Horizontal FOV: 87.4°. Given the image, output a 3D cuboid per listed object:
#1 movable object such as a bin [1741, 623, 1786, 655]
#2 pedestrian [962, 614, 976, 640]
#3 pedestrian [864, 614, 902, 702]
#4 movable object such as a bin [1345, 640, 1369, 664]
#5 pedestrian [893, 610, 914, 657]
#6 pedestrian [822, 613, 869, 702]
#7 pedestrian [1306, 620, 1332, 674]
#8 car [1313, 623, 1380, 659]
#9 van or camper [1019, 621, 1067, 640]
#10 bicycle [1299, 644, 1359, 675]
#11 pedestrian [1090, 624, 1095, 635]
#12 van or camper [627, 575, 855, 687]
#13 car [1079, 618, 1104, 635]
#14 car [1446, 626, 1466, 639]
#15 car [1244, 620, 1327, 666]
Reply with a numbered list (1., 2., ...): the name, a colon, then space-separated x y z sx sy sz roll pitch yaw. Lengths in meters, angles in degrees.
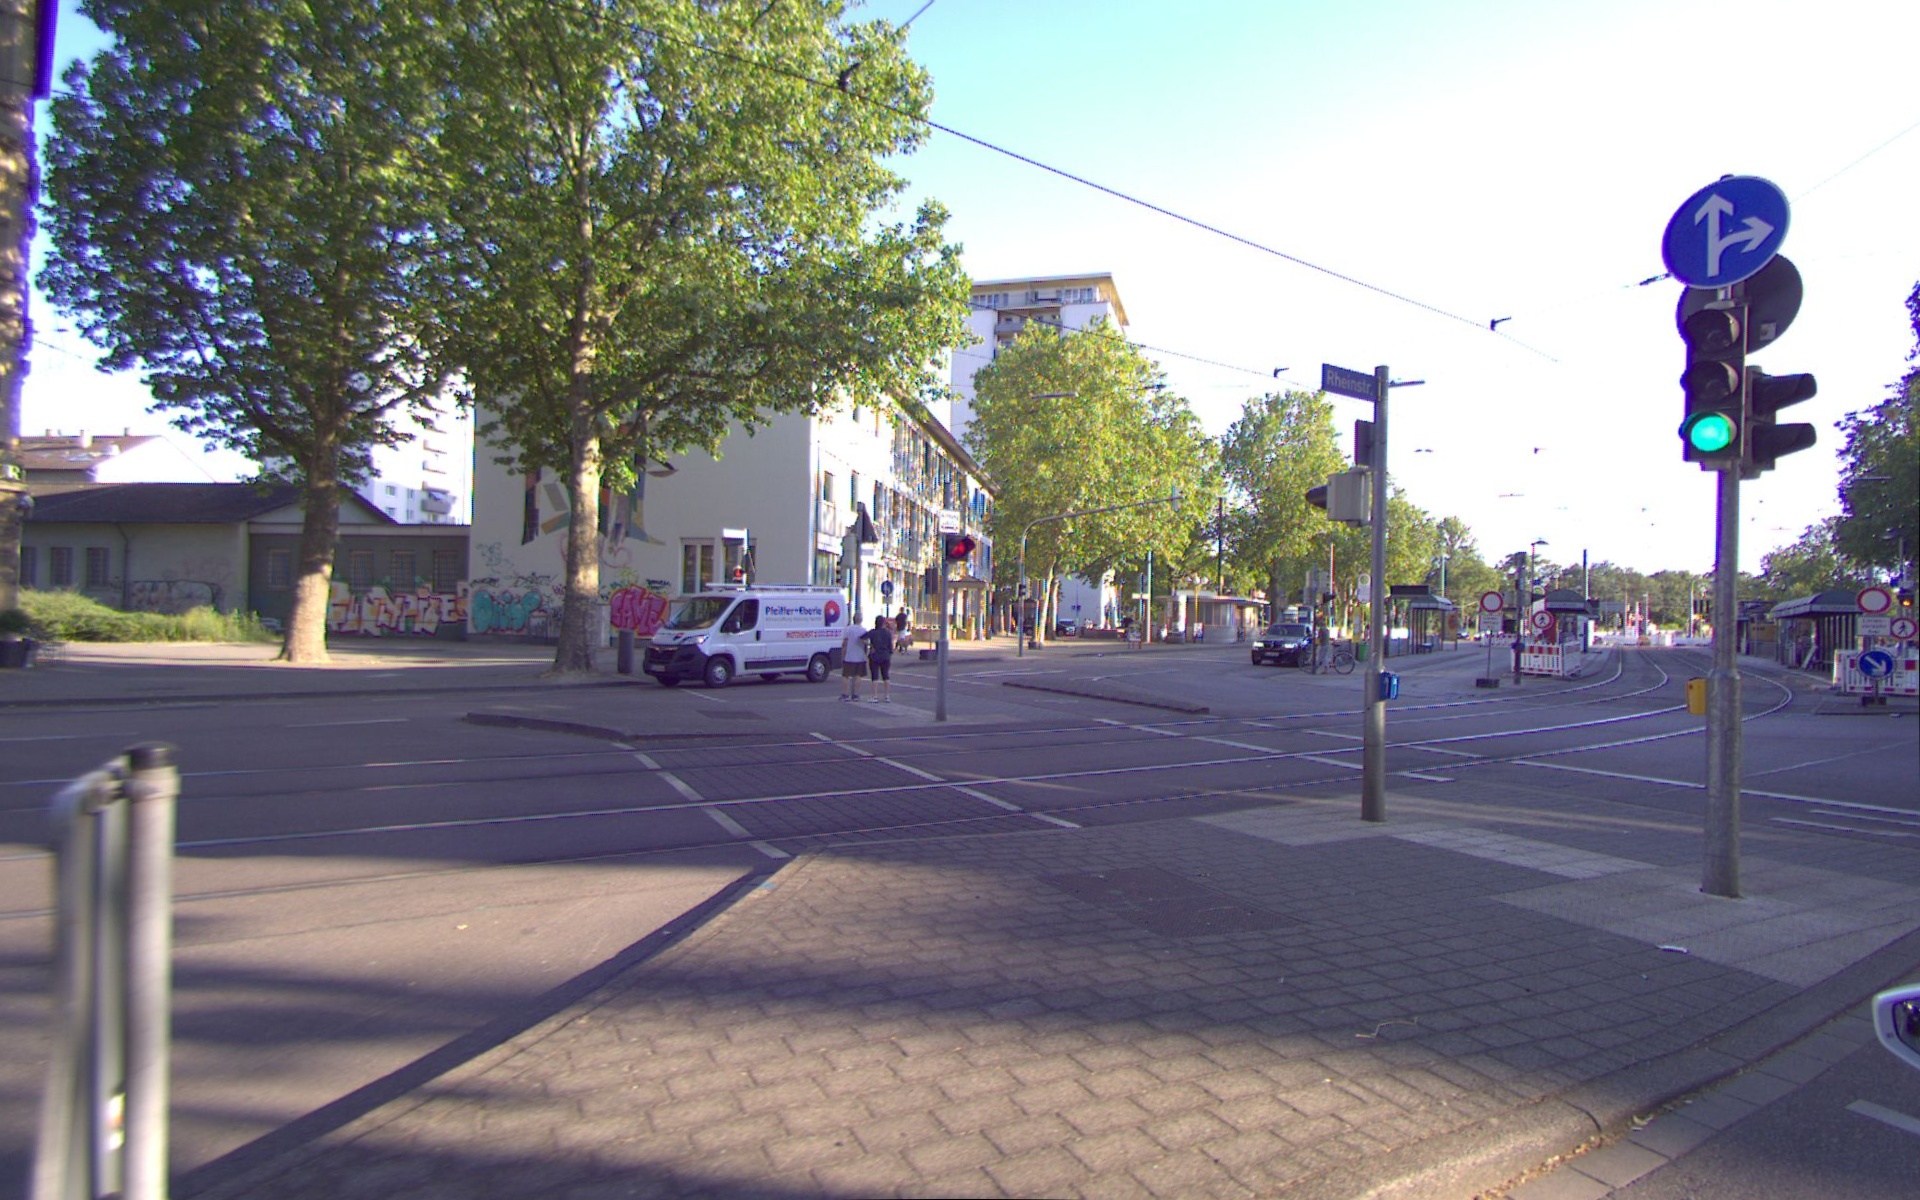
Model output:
1. movable object such as a bin: 67.306 3.221 84.204 2.460 2.509 5.340 1 -1 34
2. pedestrian: 0.497 1.522 57.082 0.663 1.414 0.693 2 1 8
3. pedestrian: -1.368 1.017 17.867 0.403 1.524 0.515 1 -1 40
4. movable object such as a bin: 15.476 2.026 39.166 0.662 0.878 0.700 3 1 36
5. pedestrian: -2.149 1.270 38.179 0.663 1.733 0.431 2 1 16
6. pedestrian: -2.022 1.006 17.766 0.514 1.524 0.591 1 -1 40
7. pedestrian: 11.943 1.565 33.392 0.710 1.748 0.398 1 -1 33
8. car: 17.810 1.873 46.221 1.861 1.551 4.193 1 -1 36
9. van or camper: 7.271 2.685 88.542 3.924 1.572 1.827 2 -1 -5
10. bicycle: 12.351 1.971 33.649 1.815 0.955 0.462 1 -1 34
11. pedestrian: 13.674 3.032 103.748 0.385 1.086 0.389 1 -1 14
12. van or camper: -5.020 0.745 23.751 2.141 2.349 5.083 -2 -3 38
13. car: 13.837 2.799 105.543 1.960 1.586 4.001 2 1 17
14. car: 62.683 4.104 126.820 1.859 1.551 4.198 1 -1 31
15. car: 12.532 1.616 38.513 1.861 1.606 4.193 1 -1 36
